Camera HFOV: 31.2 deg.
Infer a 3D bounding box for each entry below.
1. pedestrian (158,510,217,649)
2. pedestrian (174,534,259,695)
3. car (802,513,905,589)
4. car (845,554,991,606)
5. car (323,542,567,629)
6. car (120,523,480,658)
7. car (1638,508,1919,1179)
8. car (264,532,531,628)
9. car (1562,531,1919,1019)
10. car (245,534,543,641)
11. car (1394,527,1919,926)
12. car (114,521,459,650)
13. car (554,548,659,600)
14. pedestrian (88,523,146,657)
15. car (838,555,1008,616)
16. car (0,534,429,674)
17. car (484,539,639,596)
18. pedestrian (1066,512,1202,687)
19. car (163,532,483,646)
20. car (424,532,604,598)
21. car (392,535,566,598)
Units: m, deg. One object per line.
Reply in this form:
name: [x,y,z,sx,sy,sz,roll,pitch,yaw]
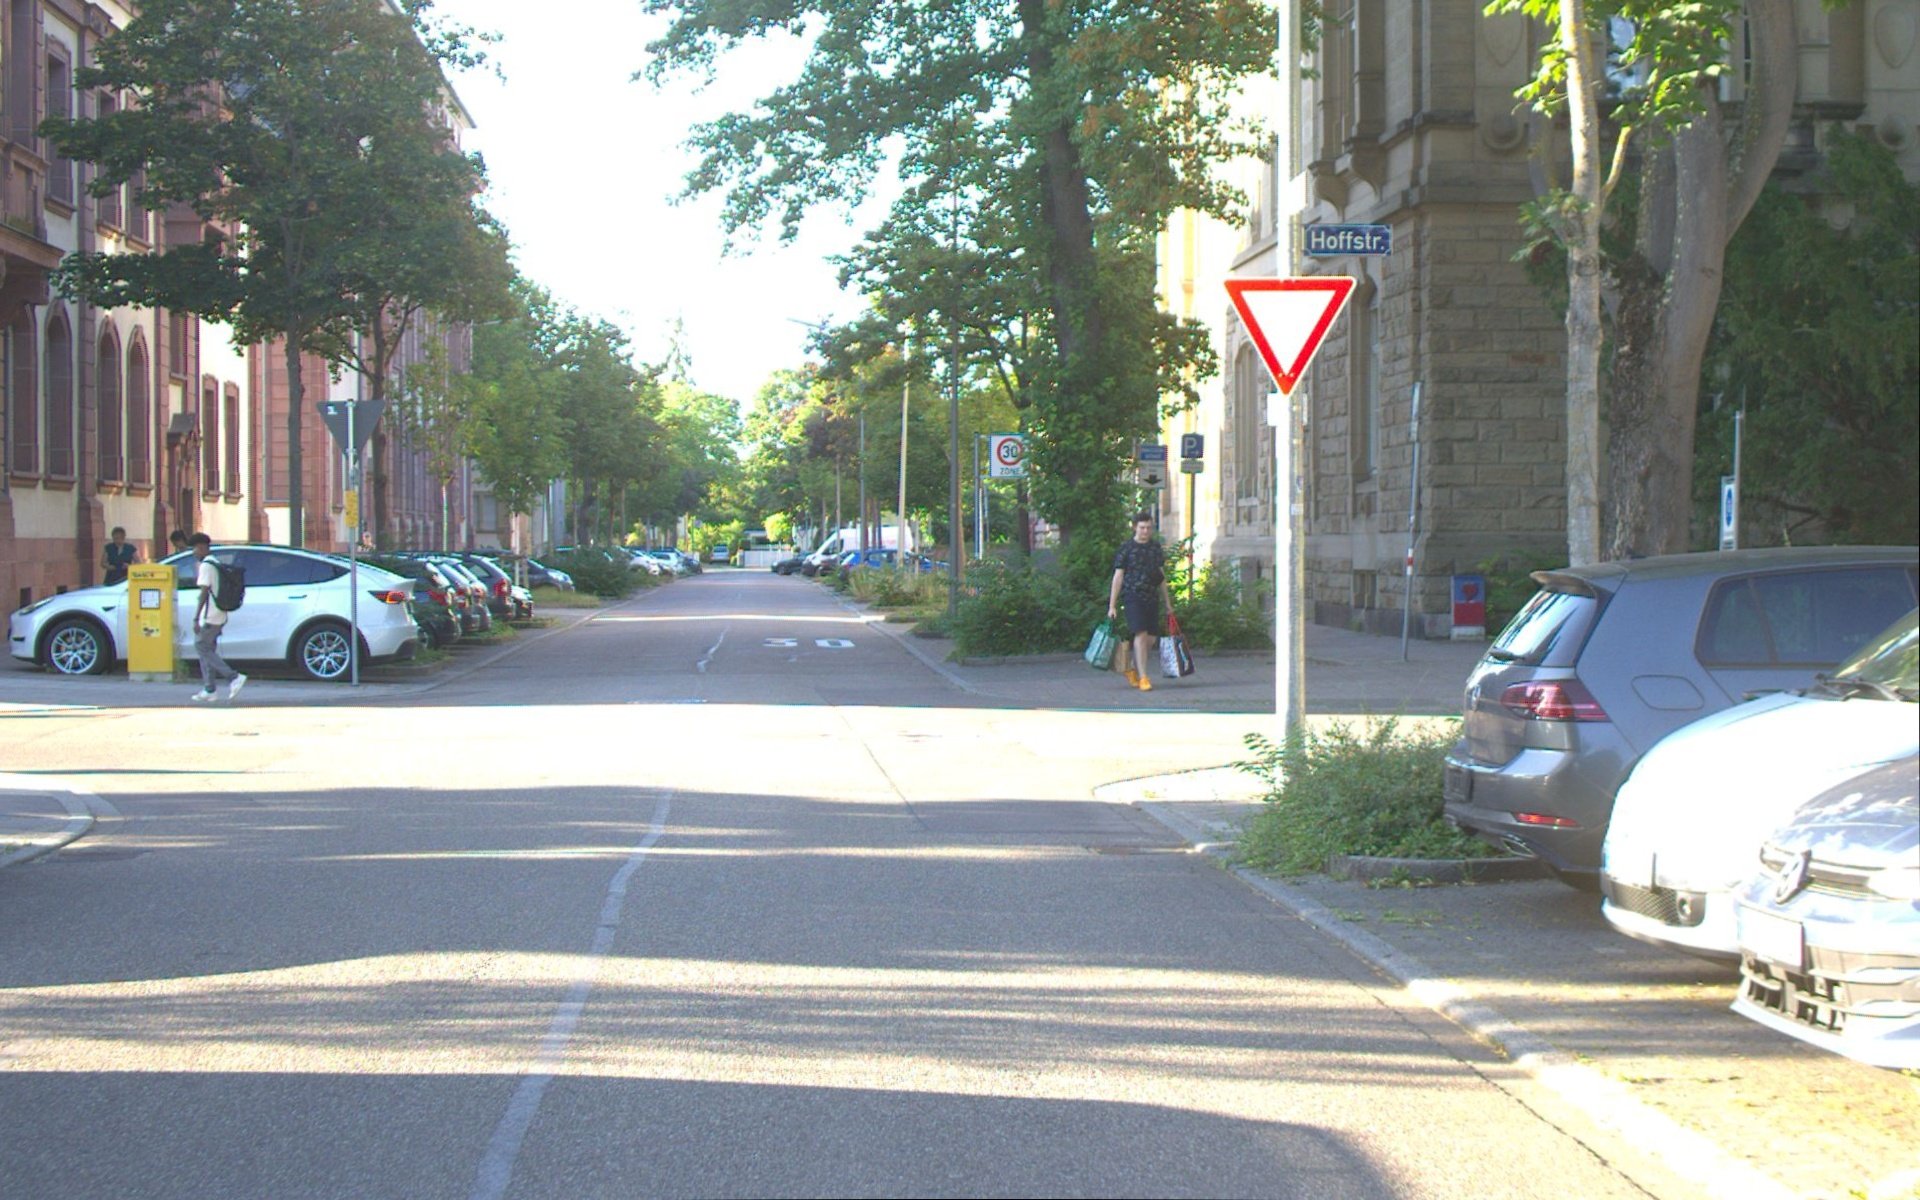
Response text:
pedestrian: [-10.971,-0.289,48.813,0.784,1.955,0.721,0,-1,-11]
pedestrian: [-7.494,0.148,34.682,0.784,1.601,0.721,0,-1,-9]
car: [-5.197,-2.390,166.887,4.885,3.605,1.842,1,1,-4]
car: [-1.373,-0.650,111.325,4.582,1.602,1.842,1,1,-5]
car: [-9.803,-0.279,65.705,4.482,1.602,1.842,1,1,-5]
car: [-8.619,-0.133,45.201,4.482,1.711,1.842,0,1,-5]
car: [4.265,0.557,9.068,4.490,1.544,1.891,0,1,-6]
car: [-9.828,-0.355,60.290,4.482,1.602,1.842,1,1,-5]
car: [4.143,0.541,11.503,3.954,1.511,1.675,0,1,0]
car: [-8.835,-0.197,53.960,4.482,1.602,1.842,1,1,-5]
car: [3.896,0.496,14.070,3.954,1.511,1.874,0,-1,-1]
car: [-9.212,-0.211,47.333,4.482,1.711,1.842,0,1,-5]
car: [-15.698,-1.151,152.895,4.582,2.256,1.842,1,1,-5]
pedestrian: [-12.438,-0.139,50.722,0.718,1.955,0.787,0,-1,-6]
car: [-1.026,-0.394,93.868,4.482,1.602,1.842,1,1,-5]
car: [-8.791,0.032,40.635,4.841,1.588,1.842,0,1,-5]
car: [-11.758,-0.961,101.621,4.482,1.602,1.842,1,1,-5]
pedestrian: [1.871,-0.014,36.996,1.060,1.851,1.002,0,1,-34]
car: [-9.342,-0.171,50.691,4.482,1.602,1.842,1,1,-5]
car: [-11.377,-0.897,87.917,4.482,1.602,1.842,1,1,-5]
car: [-12.766,-0.893,91.459,4.482,1.602,1.842,1,1,-5]
